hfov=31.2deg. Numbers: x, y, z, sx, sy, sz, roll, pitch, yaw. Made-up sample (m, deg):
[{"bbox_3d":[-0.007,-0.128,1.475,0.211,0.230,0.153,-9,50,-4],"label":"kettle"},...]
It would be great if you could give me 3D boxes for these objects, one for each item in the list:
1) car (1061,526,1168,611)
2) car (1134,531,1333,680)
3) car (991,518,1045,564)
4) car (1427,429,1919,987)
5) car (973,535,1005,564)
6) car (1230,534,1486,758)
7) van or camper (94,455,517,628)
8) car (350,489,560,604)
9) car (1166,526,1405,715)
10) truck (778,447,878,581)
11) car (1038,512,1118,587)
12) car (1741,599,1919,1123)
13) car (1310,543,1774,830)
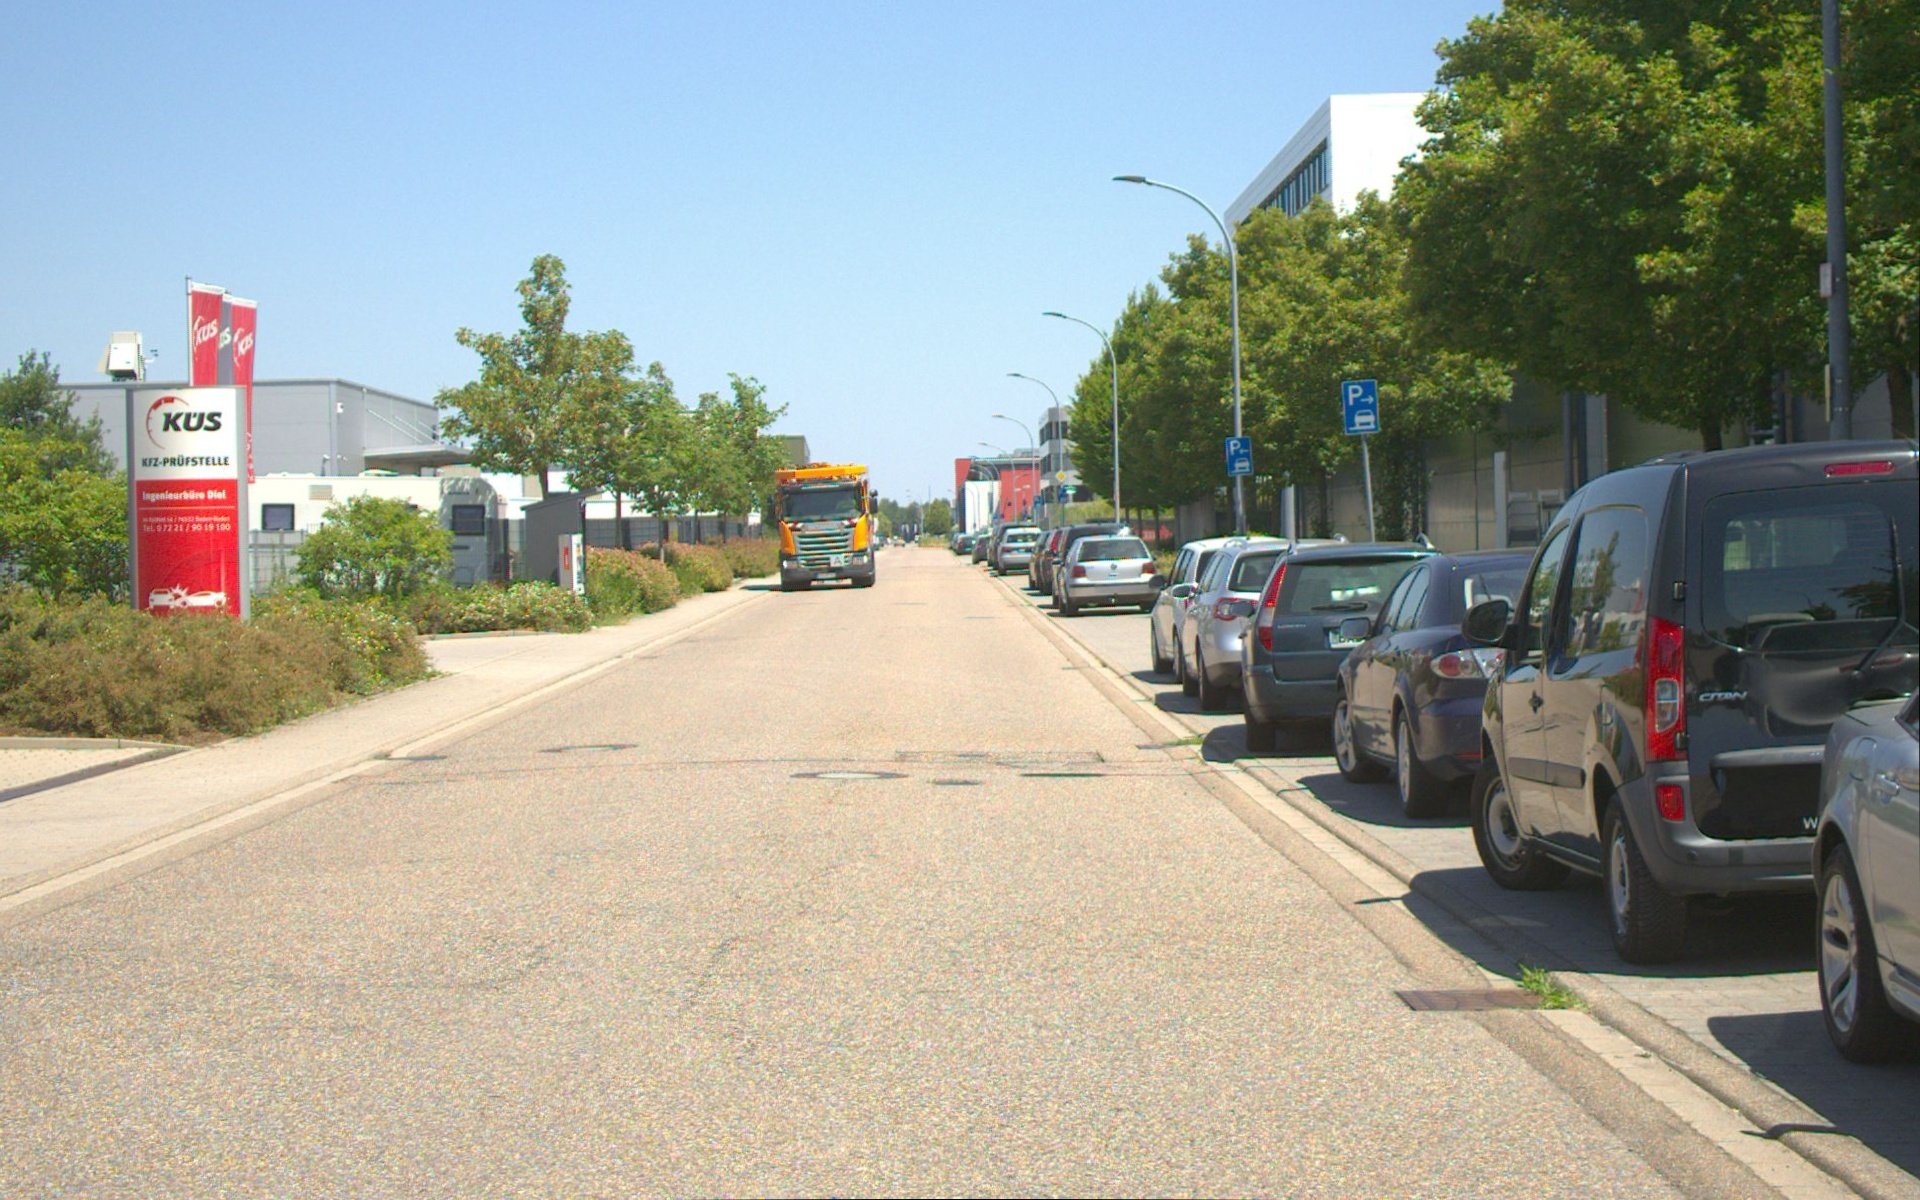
[{"bbox_3d":[2.789,-0.590,62.823,1.718,1.445,3.646,-2,1,-1],"label":"car"},{"bbox_3d":[2.926,0.021,37.408,1.636,1.464,3.746,-2,1,-3],"label":"car"},{"bbox_3d":[1.837,-1.891,109.747,1.585,1.405,3.500,-1,1,-1],"label":"car"},{"bbox_3d":[3.181,0.322,13.536,1.993,1.819,4.354,-1,1,-1],"label":"car"},{"bbox_3d":[1.454,-2.572,174.177,1.495,1.405,3.500,-1,1,-1],"label":"car"},{"bbox_3d":[2.917,0.289,25.973,1.709,1.499,4.705,-1,1,4],"label":"car"},{"bbox_3d":[-12.231,-1.109,64.686,7.384,3.027,2.790,-1,1,-1],"label":"van or camper"},{"bbox_3d":[-11.859,-1.265,81.005,4.714,2.577,2.000,-1,1,-4],"label":"car"},{"bbox_3d":[2.934,0.126,31.809,1.748,1.556,4.506,-2,1,0],"label":"car"},{"bbox_3d":[-3.646,-2.428,96.453,2.448,3.501,8.273,-2,1,-1],"label":"truck"},{"bbox_3d":[2.746,-1.199,80.708,1.722,1.688,3.984,-1,1,0],"label":"car"},{"bbox_3d":[3.224,0.637,8.491,1.711,1.283,4.115,-1,0,1],"label":"car"},{"bbox_3d":[3.233,0.420,20.037,1.850,1.426,4.713,-1,1,0],"label":"car"}]
